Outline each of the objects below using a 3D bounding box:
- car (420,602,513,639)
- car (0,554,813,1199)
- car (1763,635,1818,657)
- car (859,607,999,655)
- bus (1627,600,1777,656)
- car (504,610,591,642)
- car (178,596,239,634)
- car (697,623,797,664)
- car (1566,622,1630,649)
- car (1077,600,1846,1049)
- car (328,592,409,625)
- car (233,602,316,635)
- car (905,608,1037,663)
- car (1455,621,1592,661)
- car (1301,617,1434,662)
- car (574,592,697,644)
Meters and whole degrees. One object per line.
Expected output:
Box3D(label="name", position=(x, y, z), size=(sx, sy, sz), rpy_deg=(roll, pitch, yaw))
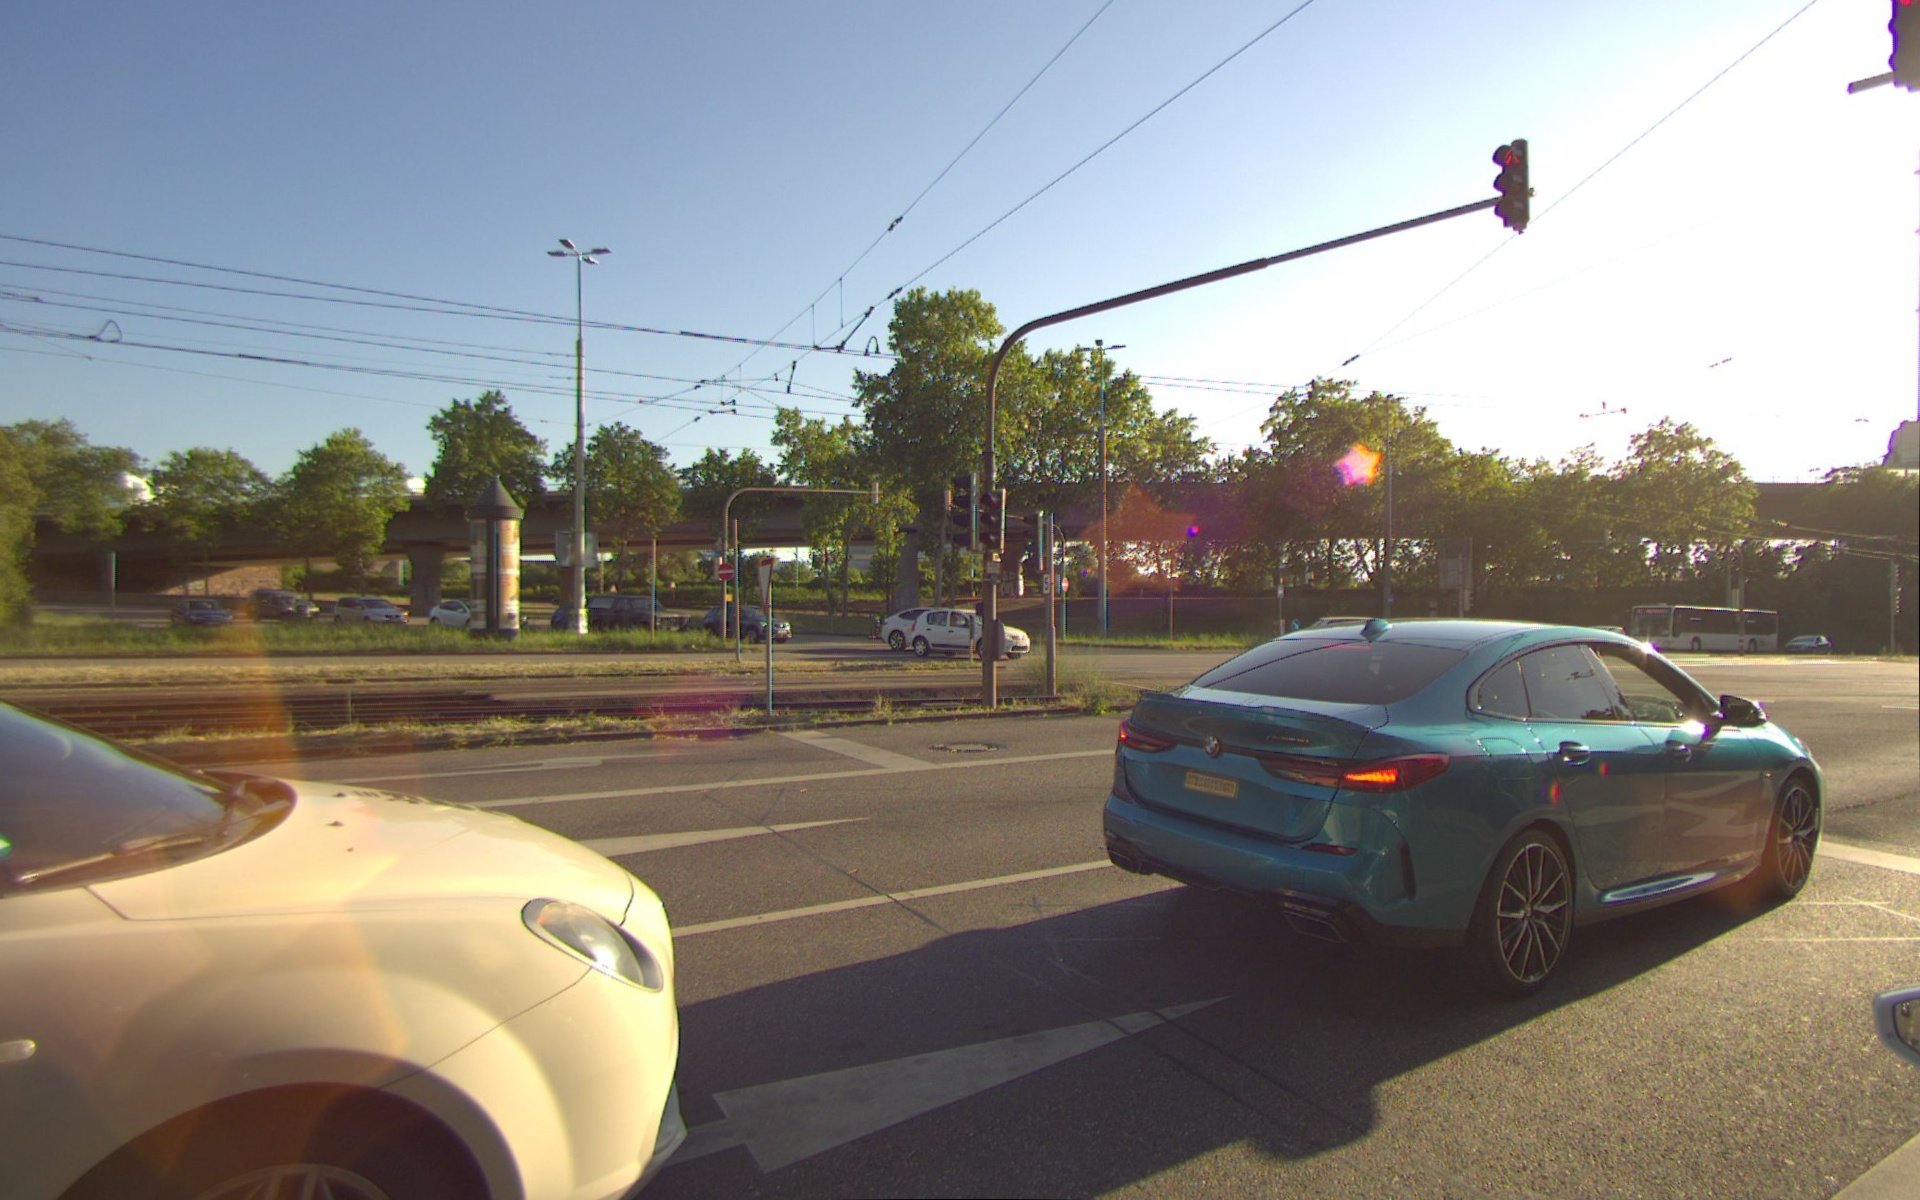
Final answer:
Box3D(label="car", position=(-23.461, 0.940, 47.733), size=(4.683, 1.596, 1.690), rpy_deg=(1, 1, 31))
Box3D(label="car", position=(-2.437, 0.699, 1.832), size=(3.955, 1.525, 1.727), rpy_deg=(1, -1, -32))
Box3D(label="car", position=(57.777, 3.152, 69.845), size=(3.959, 1.438, 1.600), rpy_deg=(1, 0, -29))
Box3D(label="car", position=(-1.228, 1.098, 37.236), size=(5.282, 1.595, 1.734), rpy_deg=(0, -1, 37))
Box3D(label="bus", position=(47.782, 1.895, 64.511), size=(12.756, 3.171, 2.534), rpy_deg=(3, -2, -28))
Box3D(label="car", position=(-20.789, 1.288, 50.594), size=(4.545, 1.478, 1.690), rpy_deg=(1, 0, 32))
Box3D(label="car", position=(-36.320, 0.704, 48.513), size=(1.742, 1.701, 4.693), rpy_deg=(1, 0, -44))
Box3D(label="car", position=(-9.046, 1.802, 42.533), size=(4.177, 1.595, 1.689), rpy_deg=(1, 0, 34))
Box3D(label="car", position=(37.389, 2.070, 58.843), size=(3.964, 1.532, 1.598), rpy_deg=(1, 0, -32))
Box3D(label="car", position=(2.751, 0.783, 5.190), size=(4.162, 1.485, 1.704), rpy_deg=(1, -1, -33))
Box3D(label="car", position=(-30.562, 0.443, 51.906), size=(4.209, 1.653, 1.691), rpy_deg=(0, -1, 29))
Box3D(label="car", position=(-37.947, 1.029, 55.579), size=(4.329, 1.701, 1.693), rpy_deg=(1, 0, 22))
Box3D(label="car", position=(0.299, 1.069, 31.445), size=(3.938, 1.595, 1.686), rpy_deg=(0, -1, 39))
Box3D(label="car", position=(21.999, 1.603, 39.354), size=(4.355, 1.423, 1.671), rpy_deg=(1, 0, 5))
Box3D(label="car", position=(14.363, 1.378, 35.615), size=(4.111, 1.423, 1.672), rpy_deg=(1, 0, 12))
Box3D(label="car", position=(-13.402, 0.725, 41.420), size=(4.854, 2.017, 2.034), rpy_deg=(1, 0, 29))
